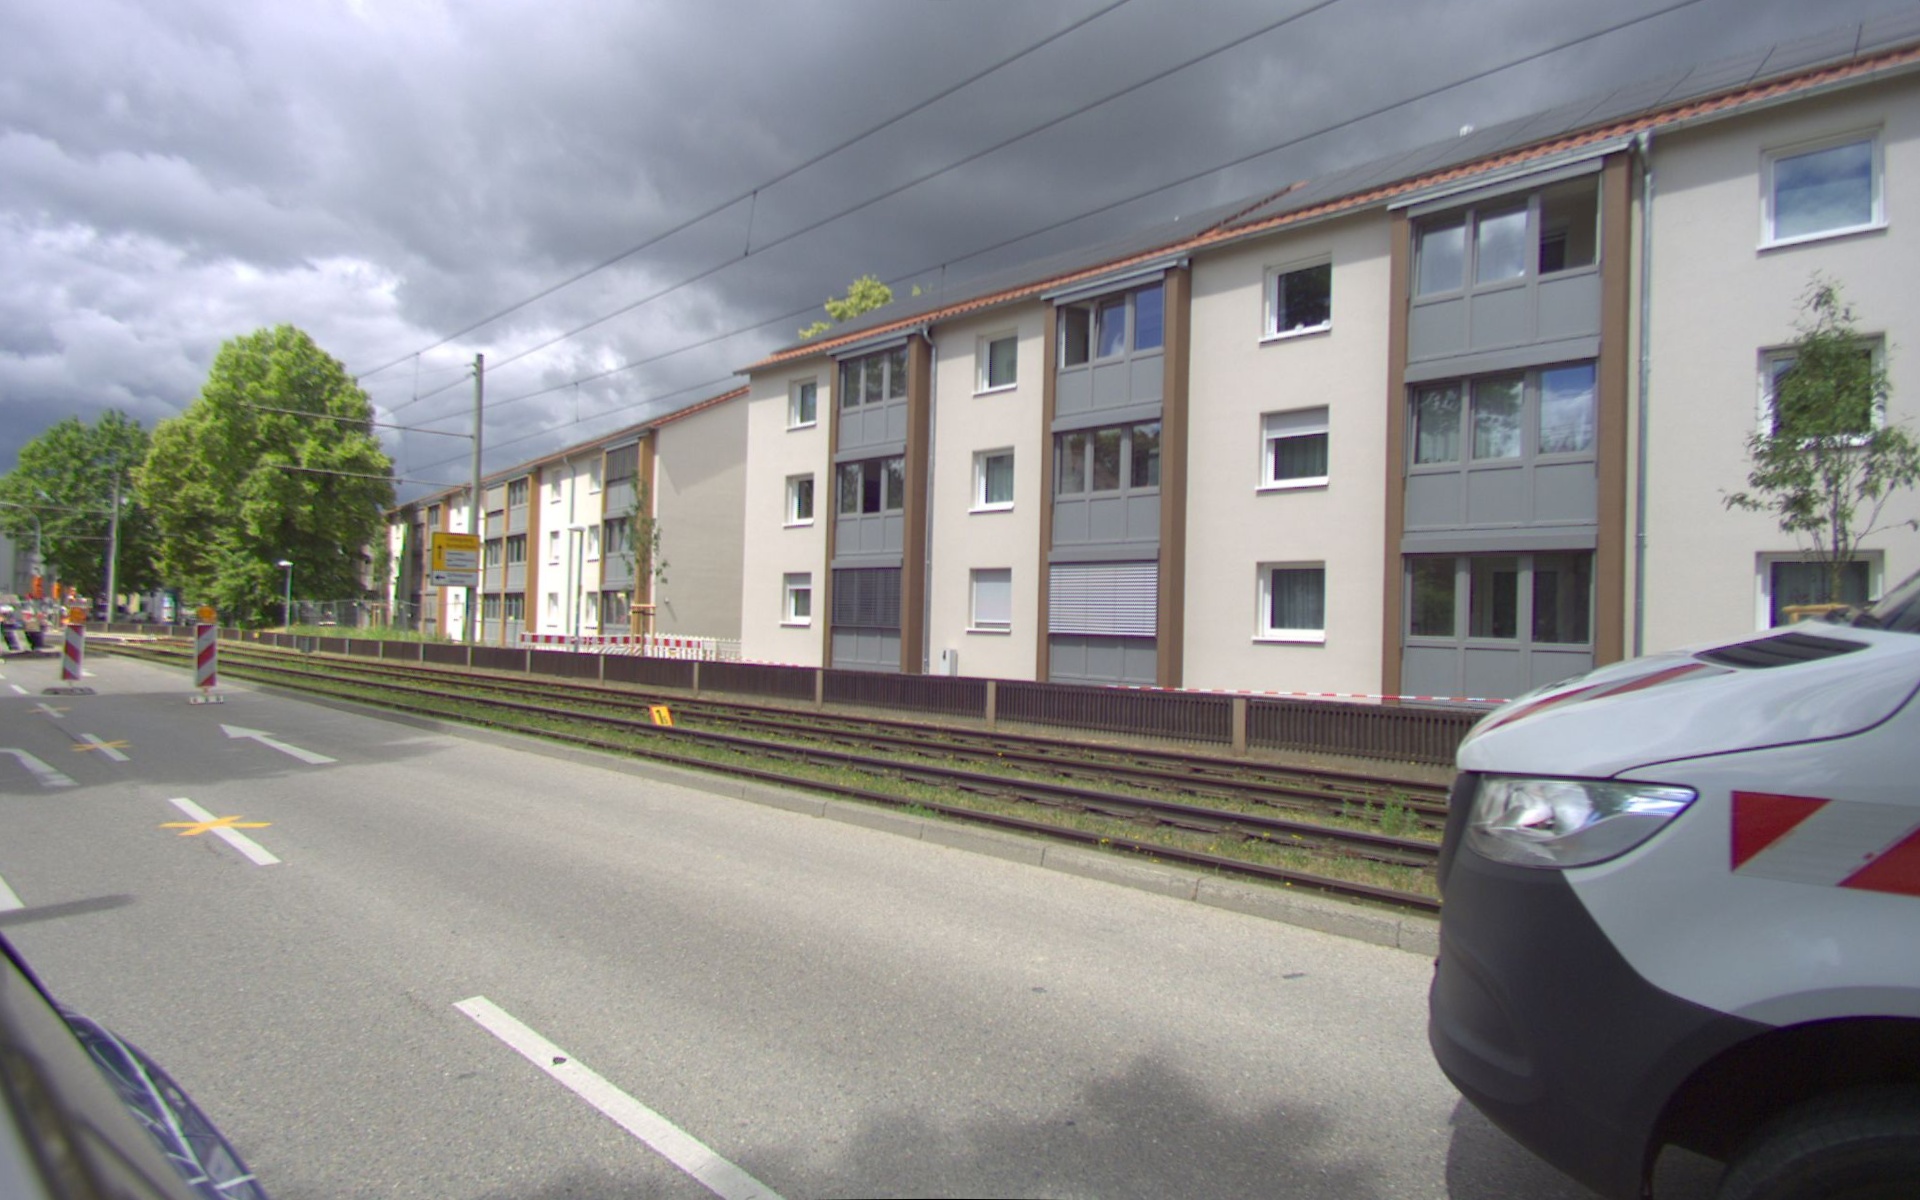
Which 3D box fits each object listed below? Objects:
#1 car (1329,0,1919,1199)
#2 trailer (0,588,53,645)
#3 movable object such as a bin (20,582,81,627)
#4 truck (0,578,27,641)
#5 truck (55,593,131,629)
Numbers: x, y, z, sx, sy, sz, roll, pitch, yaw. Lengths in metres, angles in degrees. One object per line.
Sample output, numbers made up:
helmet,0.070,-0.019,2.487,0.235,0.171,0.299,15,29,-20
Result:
car,3.749,0.203,0.678,6.320,2.449,1.972,-1,-1,42
trailer,-39.847,0.662,41.810,6.243,2.231,2.635,0,-1,40
movable object such as a bin,-96.959,0.586,107.980,2.777,4.570,6.229,2,-3,-23
truck,-44.662,0.428,45.875,6.390,2.746,2.635,0,-1,40
truck,-67.407,0.898,78.780,2.378,2.588,5.600,2,-2,-17
